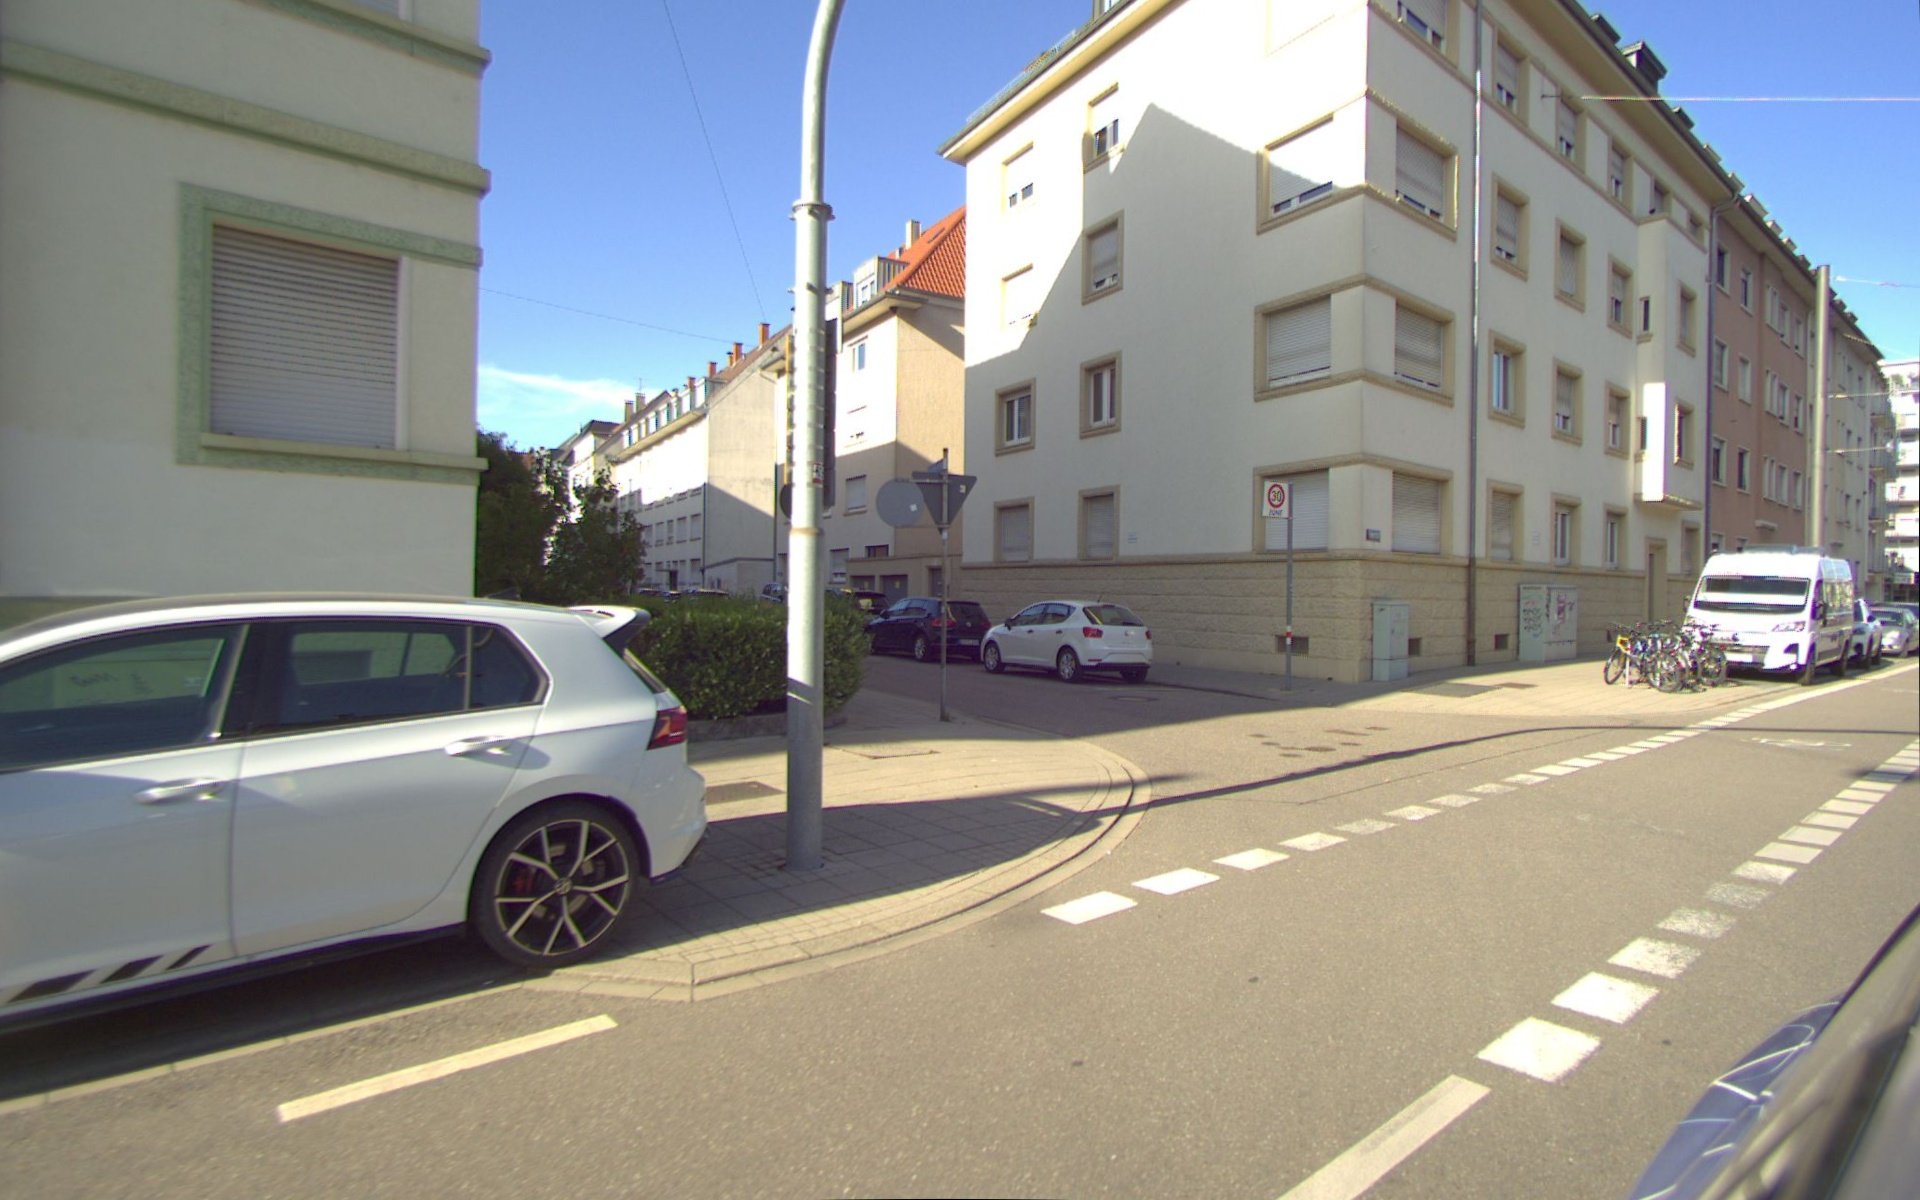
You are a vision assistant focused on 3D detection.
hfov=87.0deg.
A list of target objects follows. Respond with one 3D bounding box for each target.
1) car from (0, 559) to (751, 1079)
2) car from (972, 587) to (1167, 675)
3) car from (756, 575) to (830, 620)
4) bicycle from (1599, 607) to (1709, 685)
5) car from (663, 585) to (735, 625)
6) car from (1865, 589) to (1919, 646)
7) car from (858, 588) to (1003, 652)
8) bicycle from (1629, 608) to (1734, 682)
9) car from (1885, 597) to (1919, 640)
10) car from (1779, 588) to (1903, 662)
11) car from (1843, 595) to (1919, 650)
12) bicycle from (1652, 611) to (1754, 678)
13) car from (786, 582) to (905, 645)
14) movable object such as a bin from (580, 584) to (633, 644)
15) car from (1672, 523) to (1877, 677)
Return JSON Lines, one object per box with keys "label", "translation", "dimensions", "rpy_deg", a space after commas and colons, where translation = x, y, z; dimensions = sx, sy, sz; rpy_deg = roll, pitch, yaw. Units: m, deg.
{"label": "car", "translation": [-3.099, 0.601, 3.661], "dimensions": [4.301, 1.477, 1.697], "rpy_deg": [0, 1, -40]}
{"label": "car", "translation": [1.896, 0.560, 18.610], "dimensions": [1.678, 1.443, 3.743], "rpy_deg": [0, -2, -30]}
{"label": "car", "translation": [-7.116, -0.069, 42.874], "dimensions": [1.777, 1.738, 3.999], "rpy_deg": [0, -2, -30]}
{"label": "bicycle", "translation": [11.300, 0.709, 16.553], "dimensions": [0.465, 1.100, 1.917], "rpy_deg": [3, 2, 2]}
{"label": "car", "translation": [-10.397, 0.220, 40.152], "dimensions": [1.765, 1.481, 3.999], "rpy_deg": [0, -2, -30]}
{"label": "car", "translation": [31.920, 0.575, 33.988], "dimensions": [4.414, 1.718, 1.804], "rpy_deg": [1, 3, -43]}
{"label": "car", "translation": [-0.773, 0.478, 23.542], "dimensions": [1.678, 1.355, 3.975], "rpy_deg": [0, -2, -30]}
{"label": "bicycle", "translation": [12.287, 0.731, 17.310], "dimensions": [0.465, 1.100, 1.917], "rpy_deg": [-2, 2, 2]}
{"label": "car", "translation": [36.151, 0.691, 37.978], "dimensions": [4.083, 1.497, 1.748], "rpy_deg": [0, 4, -43]}
{"label": "car", "translation": [22.040, 0.565, 25.268], "dimensions": [4.497, 1.657, 1.850], "rpy_deg": [0, 1, -43]}
{"label": "car", "translation": [28.242, 0.644, 30.590], "dimensions": [3.981, 1.478, 1.626], "rpy_deg": [1, 3, -39]}
{"label": "bicycle", "translation": [13.121, 0.768, 17.942], "dimensions": [0.478, 1.101, 2.024], "rpy_deg": [-1, -2, 7]}
{"label": "car", "translation": [-3.169, 0.406, 27.351], "dimensions": [1.678, 1.567, 4.134], "rpy_deg": [0, -2, -30]}
{"label": "movable object such as a bin", "translation": [-9.674, 0.382, 27.659], "dimensions": [1.169, 1.579, 1.062], "rpy_deg": [0, -2, -32]}
{"label": "car", "translation": [16.866, -0.042, 20.806], "dimensions": [6.182, 2.729, 2.155], "rpy_deg": [0, 2, -41]}
